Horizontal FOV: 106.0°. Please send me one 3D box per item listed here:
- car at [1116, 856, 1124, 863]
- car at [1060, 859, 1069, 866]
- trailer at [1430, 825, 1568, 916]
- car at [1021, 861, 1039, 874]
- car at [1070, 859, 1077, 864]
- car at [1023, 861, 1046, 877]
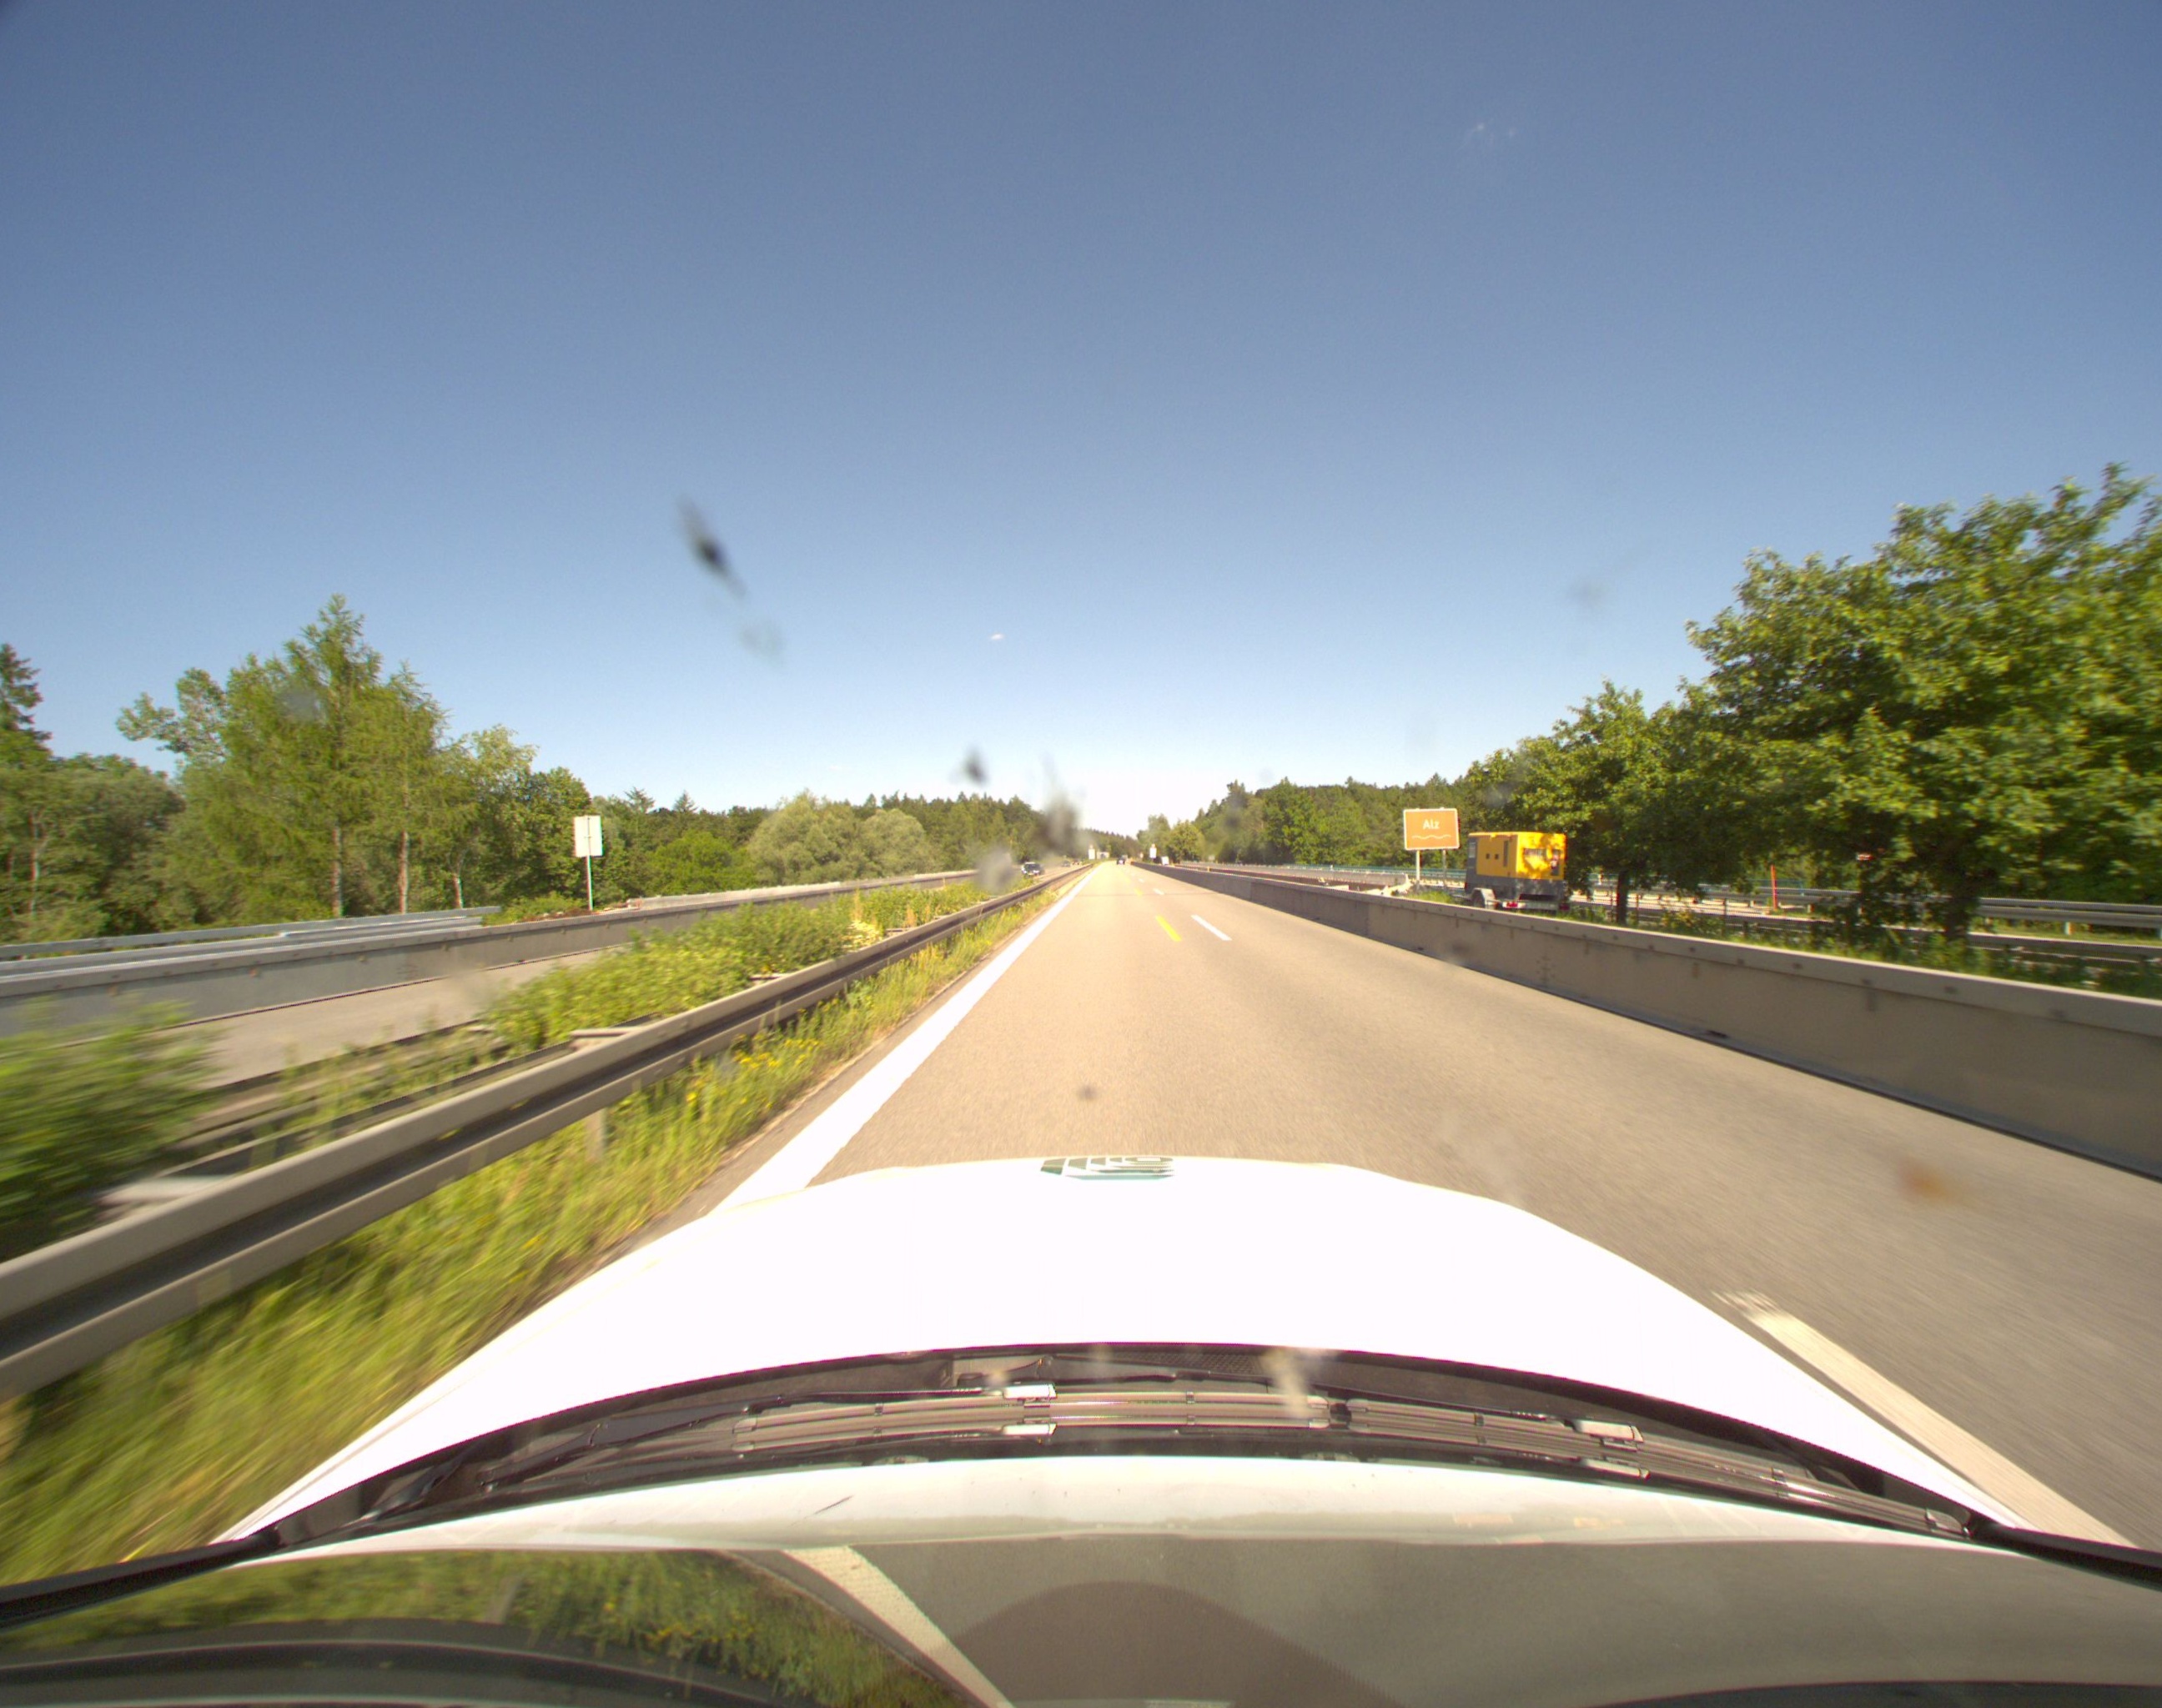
[{"bbox_3d":[8.749,1.222,182.939,1.737,1.466,4.296,-2,0,2],"label":"car"},{"bbox_3d":[-3.541,1.866,174.258,1.737,1.466,4.911,-2,0,2],"label":"car"},{"bbox_3d":[9.652,0.349,19.115,1.121,1.873,3.999,-2,0,0],"label":"trailer"},{"bbox_3d":[-6.009,1.606,96.482,1.676,1.393,4.194,-2,0,2],"label":"car"},{"bbox_3d":[-2.052,2.051,226.744,1.737,1.466,4.295,-2,0,2],"label":"car"},{"bbox_3d":[-4.506,1.414,78.869,1.639,1.377,4.812,-2,0,3],"label":"car"}]
